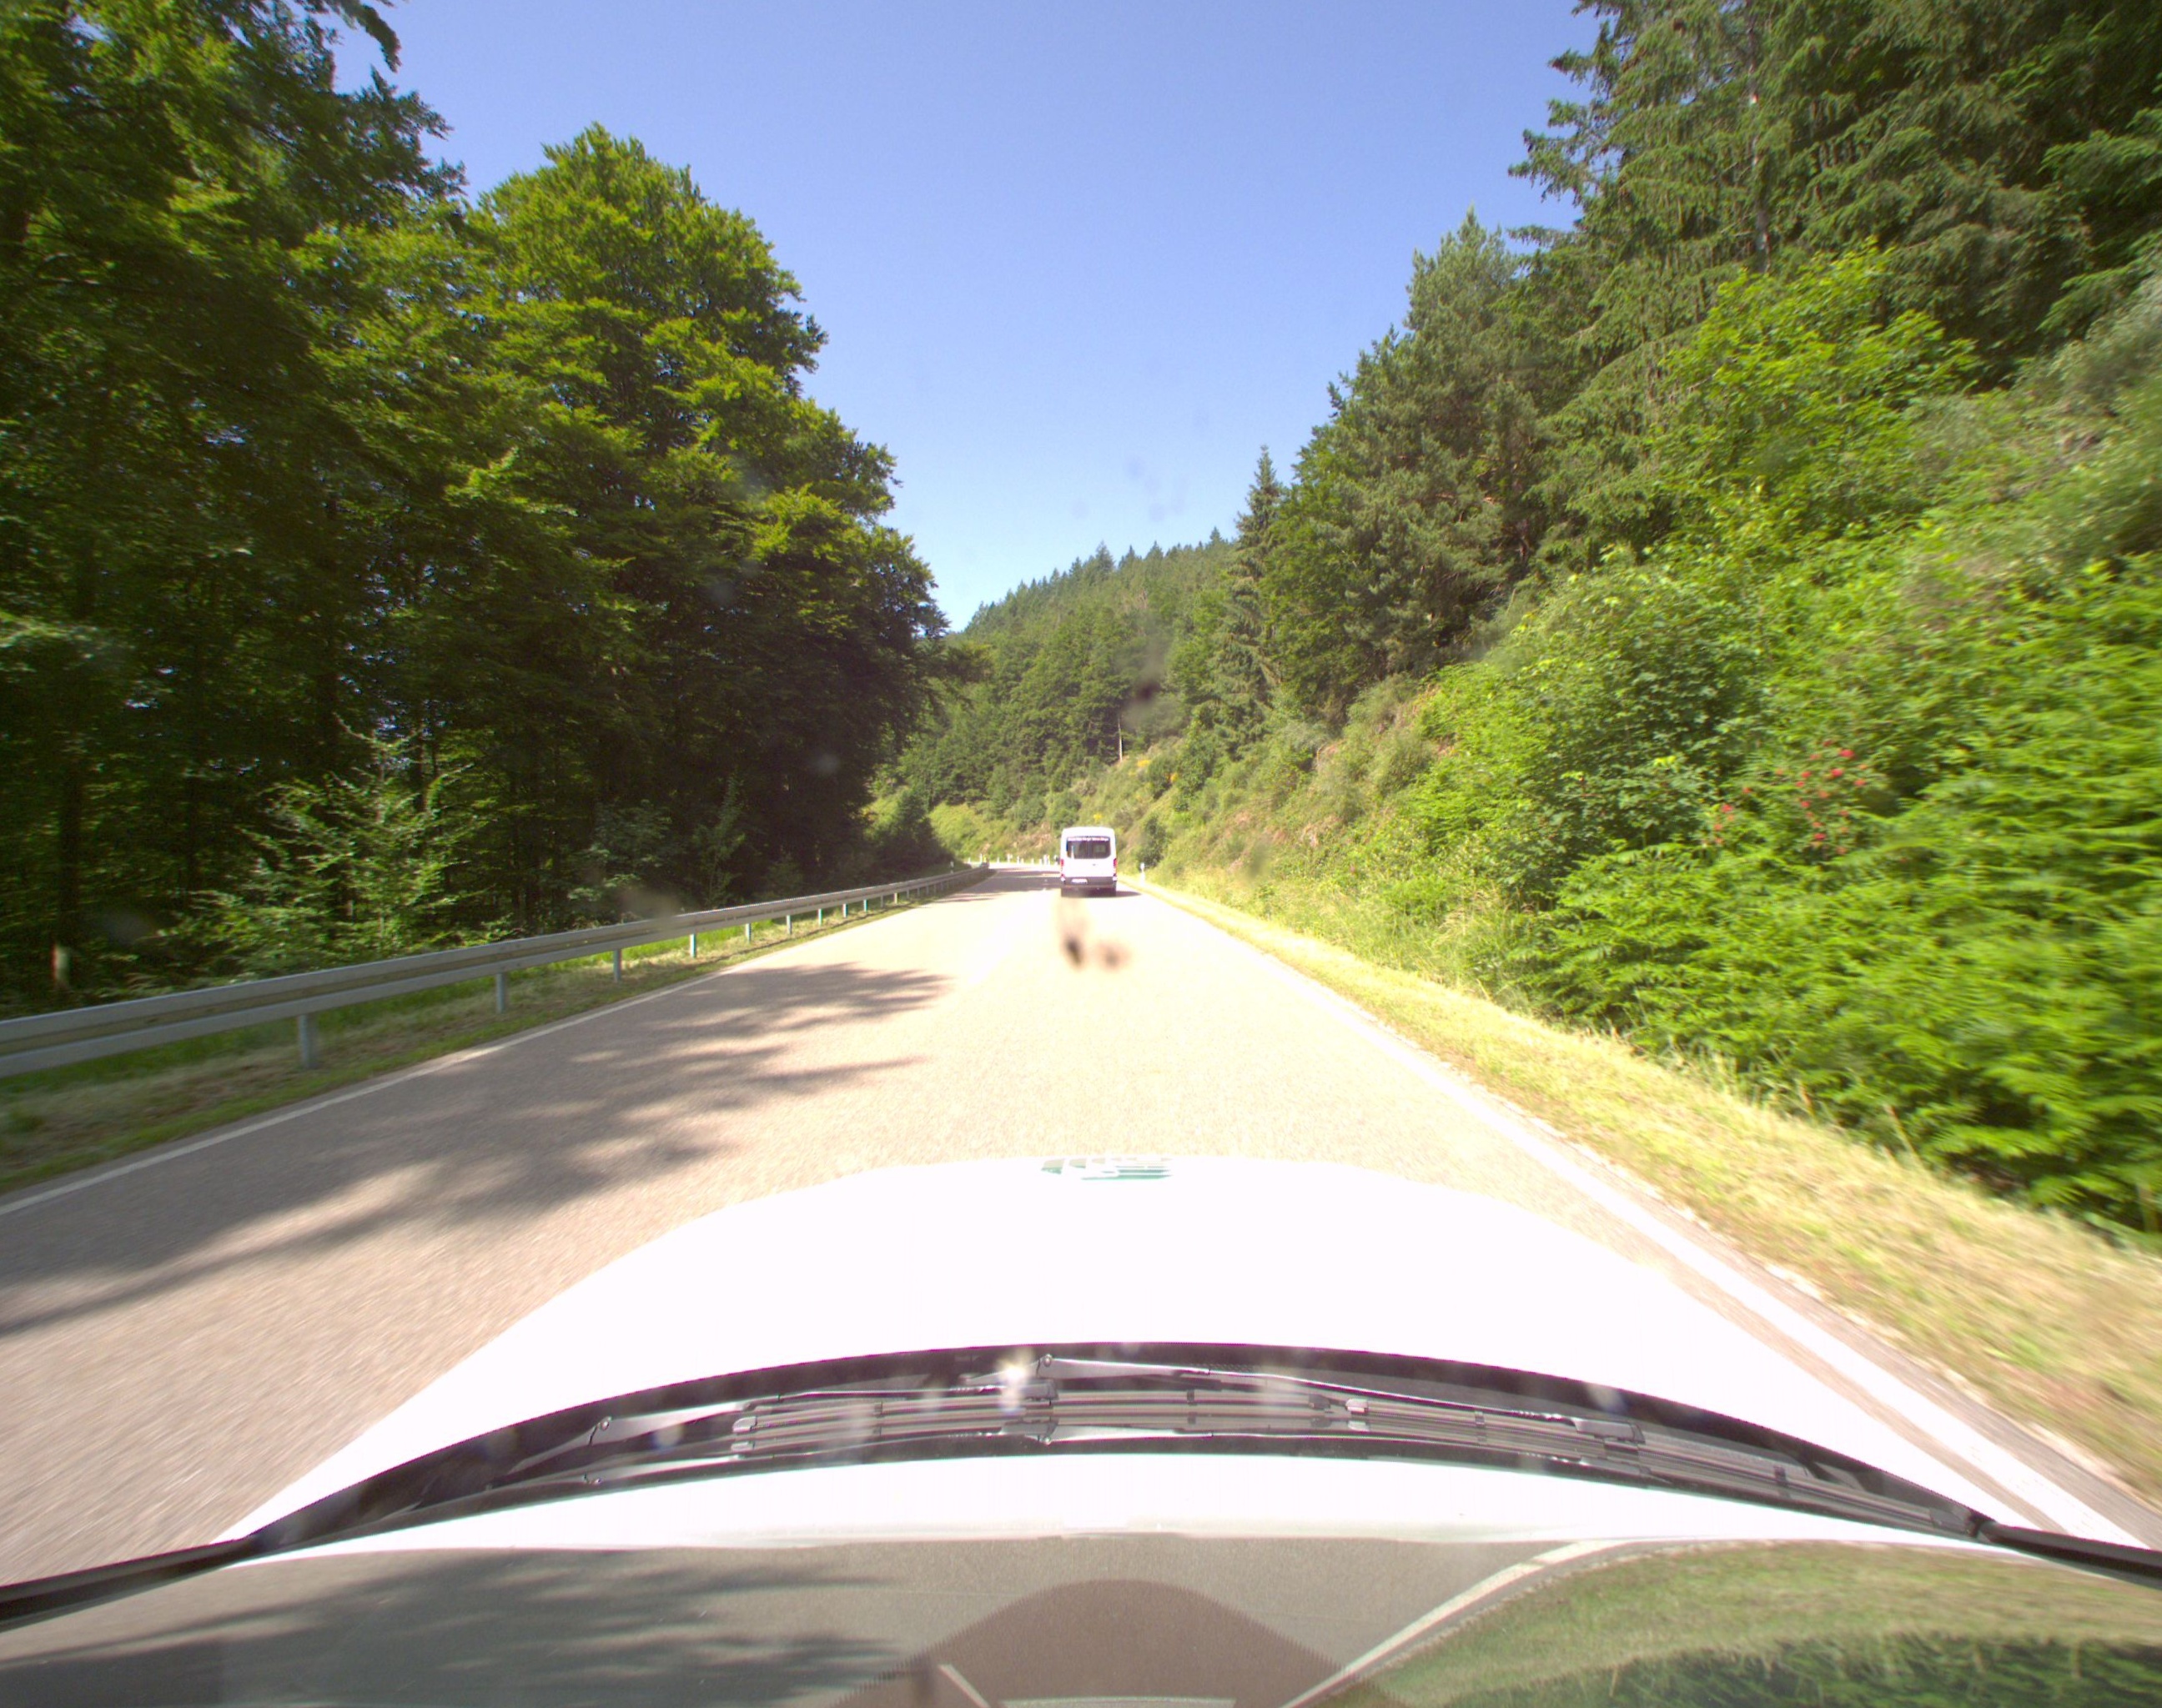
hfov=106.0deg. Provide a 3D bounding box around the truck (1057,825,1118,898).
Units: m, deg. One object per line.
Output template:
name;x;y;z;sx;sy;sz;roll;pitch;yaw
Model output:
truck;0.178;0.274;30.564;2.078;2.460;4.872;-1;0;-1
